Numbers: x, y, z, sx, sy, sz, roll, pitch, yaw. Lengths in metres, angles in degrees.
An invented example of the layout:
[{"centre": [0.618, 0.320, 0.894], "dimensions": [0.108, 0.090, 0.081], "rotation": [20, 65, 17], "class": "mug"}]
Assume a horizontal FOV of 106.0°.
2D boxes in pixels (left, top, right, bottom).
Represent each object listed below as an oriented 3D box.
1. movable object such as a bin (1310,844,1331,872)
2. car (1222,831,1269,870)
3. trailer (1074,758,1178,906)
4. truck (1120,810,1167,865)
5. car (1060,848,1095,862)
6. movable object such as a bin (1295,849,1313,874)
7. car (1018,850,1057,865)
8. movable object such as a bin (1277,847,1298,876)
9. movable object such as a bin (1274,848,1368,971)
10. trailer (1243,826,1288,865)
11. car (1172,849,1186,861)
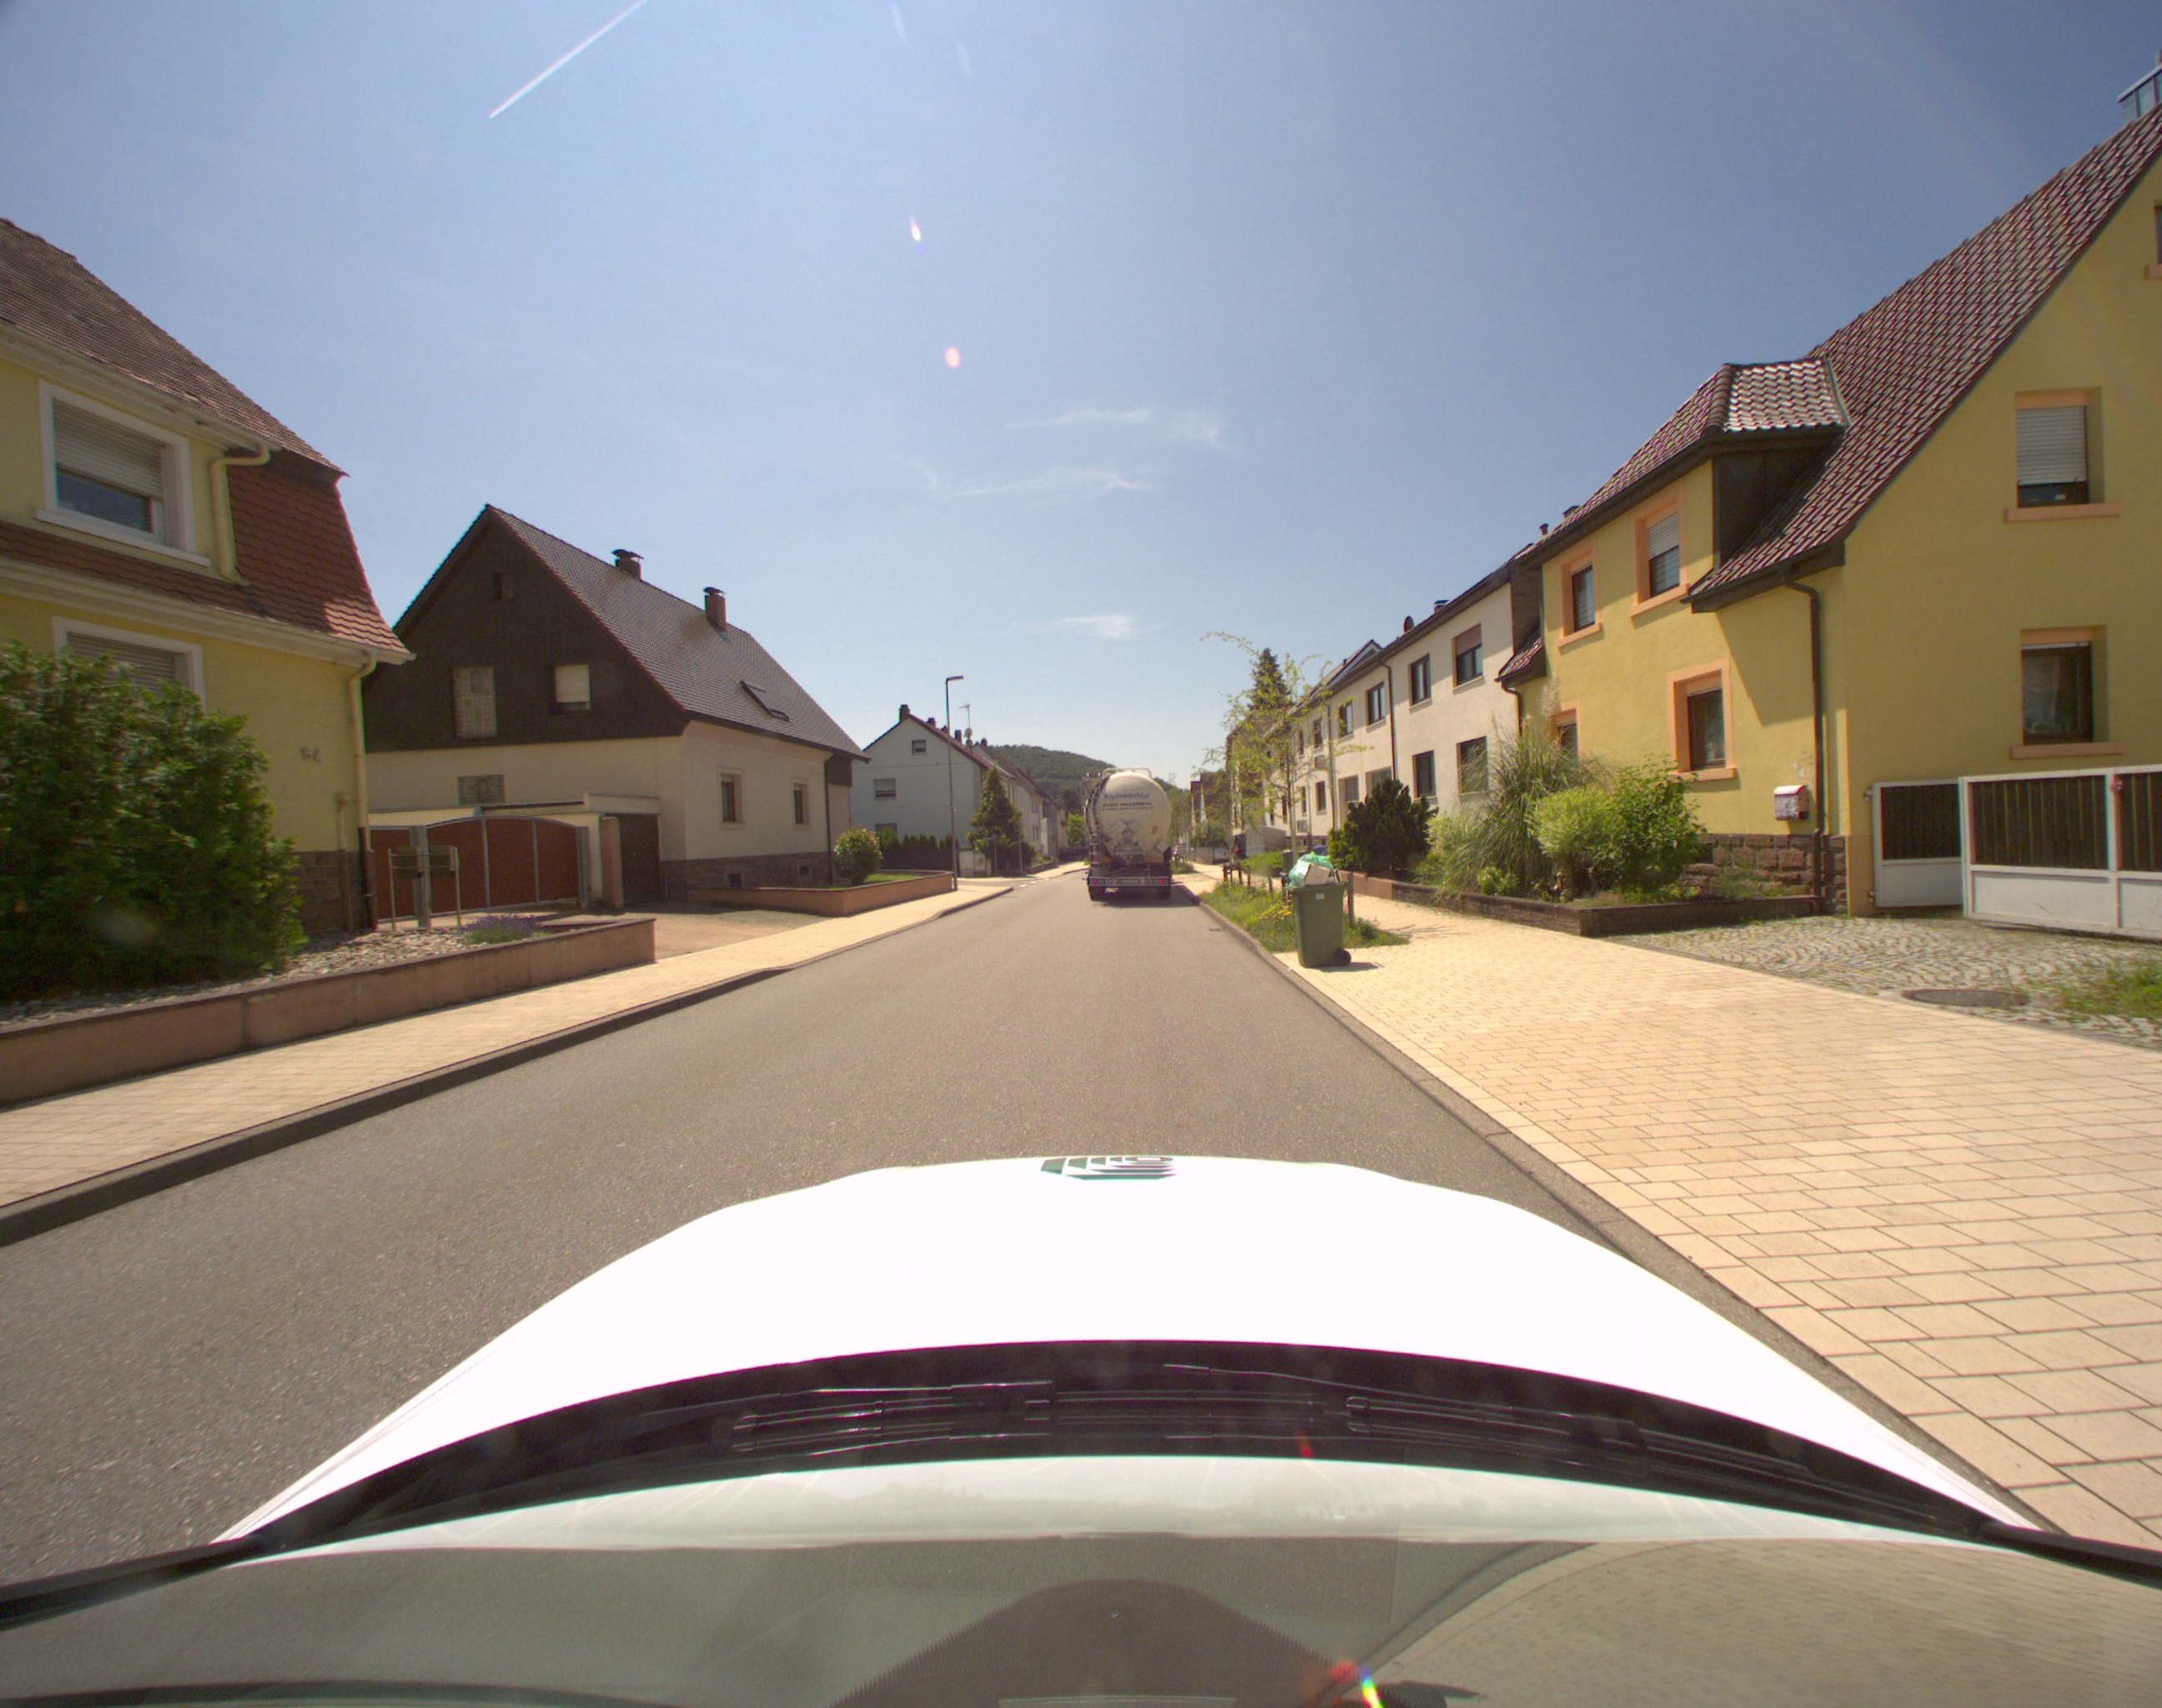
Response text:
[{"centre": [10.012, 0.149, 34.086], "dimensions": [0.681, 1.106, 0.865], "rotation": [-6, -1, 10], "class": "movable object such as a bin"}, {"centre": [9.659, -0.217, 48.044], "dimensions": [1.844, 1.970, 4.778], "rotation": [-8, 0, 3], "class": "car"}, {"centre": [1.623, -0.659, 27.637], "dimensions": [2.783, 4.000, 10.336], "rotation": [-1, 0, 4], "class": "trailer"}, {"centre": [5.981, -1.548, 80.023], "dimensions": [3.896, 4.895, 9.799], "rotation": [-3, 0, 1], "class": "truck"}, {"centre": [-0.436, 0.105, 106.994], "dimensions": [4.377, 1.750, 1.879], "rotation": [-2, 0, 2], "class": "car"}, {"centre": [9.344, 0.293, 34.167], "dimensions": [0.554, 0.986, 0.805], "rotation": [-7, -1, 10], "class": "movable object such as a bin"}, {"centre": [-4.683, 0.398, 88.555], "dimensions": [3.969, 1.545, 1.834], "rotation": [-1, 0, 4], "class": "car"}, {"centre": [8.647, 0.317, 34.076], "dimensions": [0.680, 1.115, 0.814], "rotation": [-6, -1, 9], "class": "movable object such as a bin"}, {"centre": [2.992, 0.667, 10.241], "dimensions": [0.789, 1.395, 0.925], "rotation": [-6, 0, 1], "class": "movable object such as a bin"}, {"centre": [9.827, -0.447, 43.335], "dimensions": [2.287, 2.013, 1.308], "rotation": [-1, 0, -44], "class": "trailer"}, {"centre": [14.027, 0.122, 116.642], "dimensions": [1.782, 1.541, 4.526], "rotation": [-5, 0, 5], "class": "car"}]
